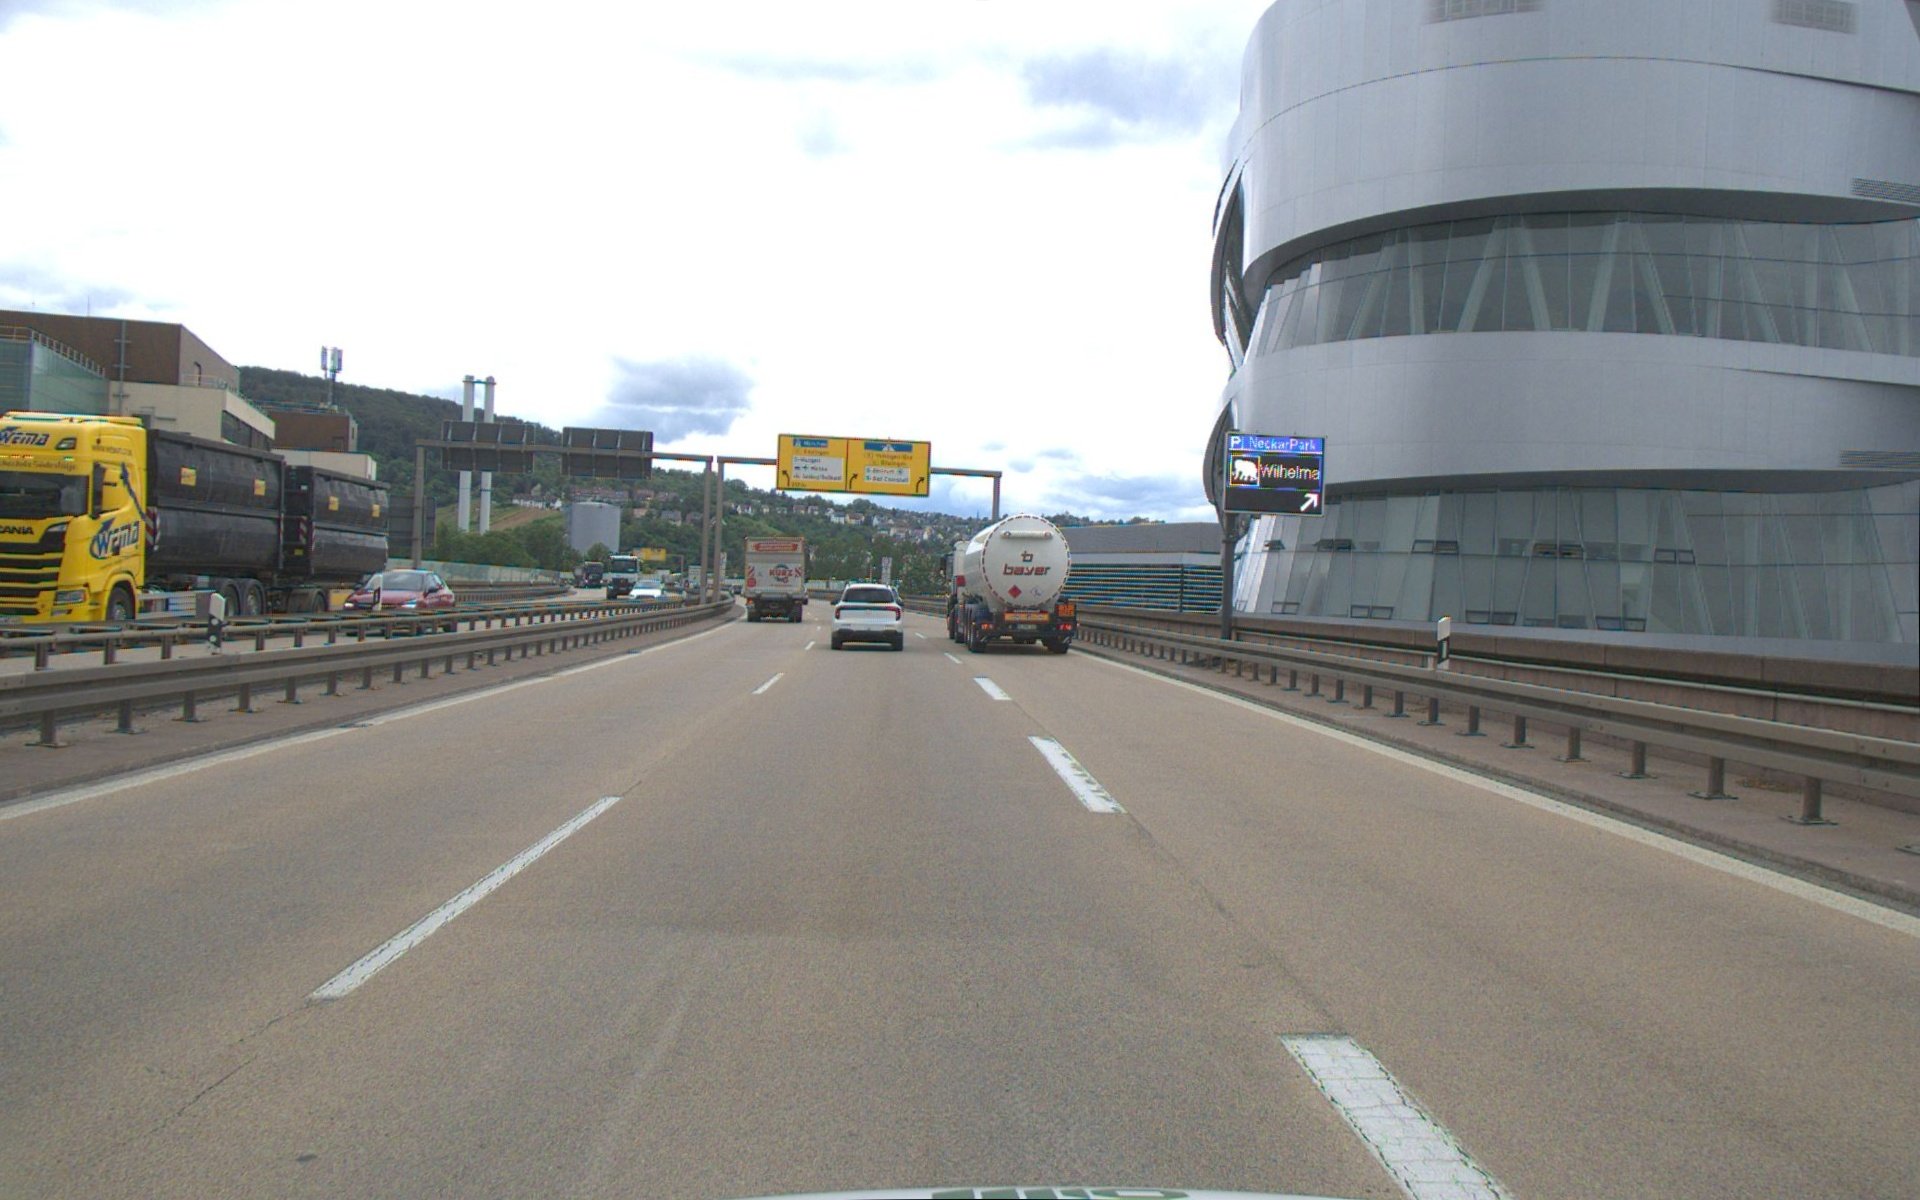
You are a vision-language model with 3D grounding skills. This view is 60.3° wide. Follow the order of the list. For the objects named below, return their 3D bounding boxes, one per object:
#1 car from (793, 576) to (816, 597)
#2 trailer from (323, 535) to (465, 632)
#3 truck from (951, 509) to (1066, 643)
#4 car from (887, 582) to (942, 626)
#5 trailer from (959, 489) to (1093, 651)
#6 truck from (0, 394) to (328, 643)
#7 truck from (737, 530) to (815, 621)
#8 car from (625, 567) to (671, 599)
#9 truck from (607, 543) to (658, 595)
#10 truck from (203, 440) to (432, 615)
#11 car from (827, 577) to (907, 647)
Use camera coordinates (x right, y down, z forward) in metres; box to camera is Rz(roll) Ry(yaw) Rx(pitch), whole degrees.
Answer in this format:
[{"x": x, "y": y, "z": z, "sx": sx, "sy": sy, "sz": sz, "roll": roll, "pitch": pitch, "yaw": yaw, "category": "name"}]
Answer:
[{"x": -13.455, "y": -1.171, "z": 143.050, "sx": 1.649, "sy": 1.679, "sz": 4.358, "roll": 2, "pitch": 0, "yaw": -2, "category": "car"}, {"x": -12.777, "y": -0.340, "z": 37.616, "sx": 1.953, "sy": 2.049, "sz": 3.998, "roll": 1, "pitch": 0, "yaw": -2, "category": "trailer"}, {"x": 1.359, "y": -0.668, "z": 49.860, "sx": 2.954, "sy": 3.721, "sz": 6.270, "roll": 1, "pitch": 0, "yaw": -2, "category": "truck"}, {"x": -1.888, "y": 0.168, "z": 67.553, "sx": 1.955, "sy": 1.704, "sz": 4.403, "roll": 1, "pitch": 0, "yaw": -5, "category": "car"}, {"x": 1.595, "y": -0.725, "z": 44.137, "sx": 2.995, "sy": 3.856, "sz": 8.301, "roll": 1, "pitch": 0, "yaw": -1, "category": "trailer"}, {"x": -16.317, "y": -1.374, "z": 33.490, "sx": 2.996, "sy": 4.136, "sz": 11.849, "roll": 1, "pitch": 0, "yaw": -3, "category": "truck"}, {"x": -8.104, "y": -1.026, "z": 73.740, "sx": 2.997, "sy": 3.755, "sz": 8.297, "roll": 1, "pitch": 0, "yaw": -4, "category": "truck"}, {"x": -16.887, "y": -0.915, "z": 89.775, "sx": 1.955, "sy": 1.634, "sz": 4.802, "roll": 1, "pitch": 0, "yaw": -5, "category": "car"}, {"x": -26.116, "y": -2.378, "z": 132.400, "sx": 2.999, "sy": 3.842, "sz": 12.500, "roll": 1, "pitch": 0, "yaw": -7, "category": "truck"}, {"x": -16.764, "y": -1.728, "z": 43.925, "sx": 2.996, "sy": 4.136, "sz": 8.658, "roll": 1, "pitch": 0, "yaw": -3, "category": "truck"}, {"x": -2.383, "y": 0.307, "z": 43.268, "sx": 1.953, "sy": 1.704, "sz": 4.406, "roll": 1, "pitch": 0, "yaw": -2, "category": "car"}]
